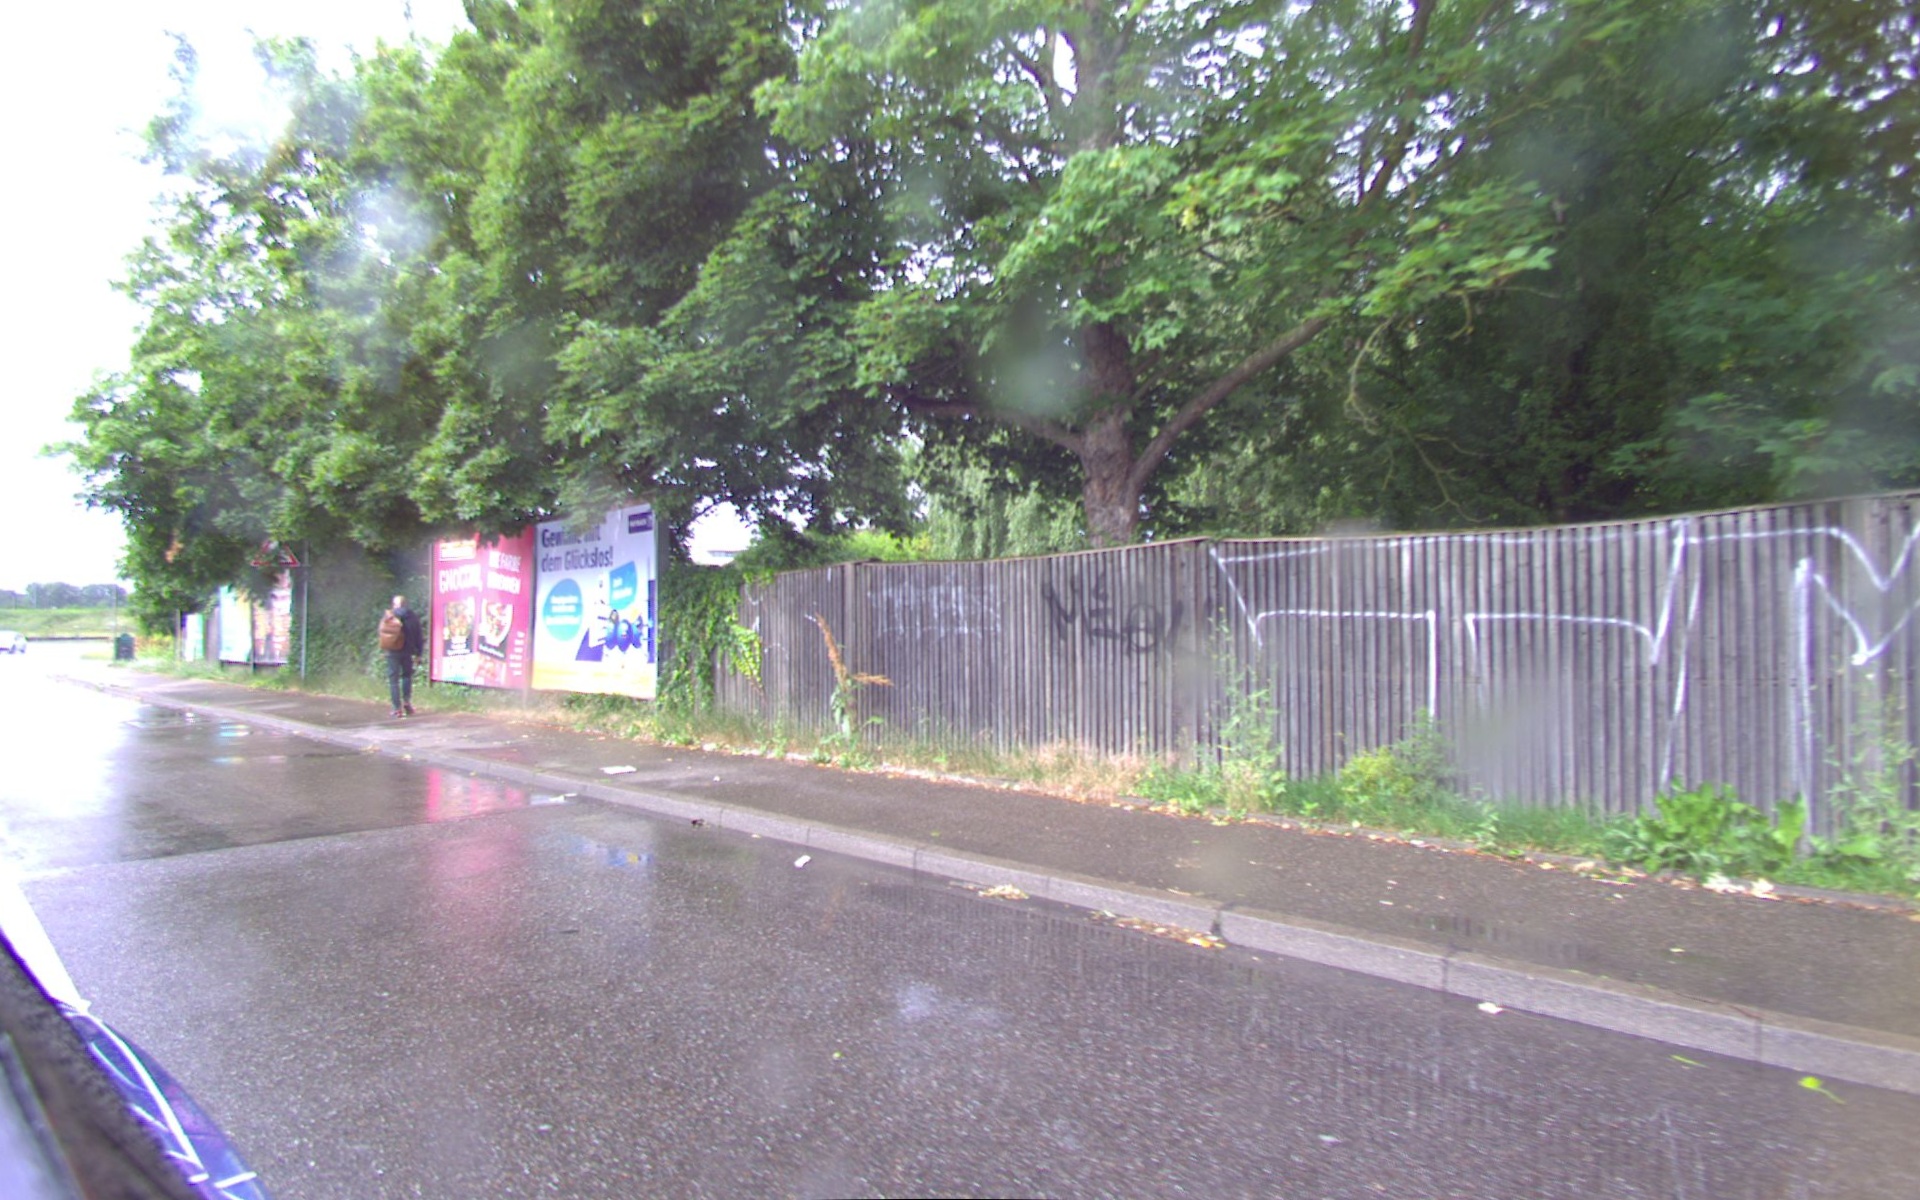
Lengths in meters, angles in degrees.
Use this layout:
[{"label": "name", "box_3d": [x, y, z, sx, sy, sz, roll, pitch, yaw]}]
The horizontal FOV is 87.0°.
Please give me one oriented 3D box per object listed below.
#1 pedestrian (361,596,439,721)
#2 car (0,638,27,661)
[{"label": "pedestrian", "box_3d": [-8.317, 0.851, 15.038, 0.644, 1.783, 0.830, -2, -3, 41]}, {"label": "car", "box_3d": [-71.343, 3.668, 75.266, 1.767, 1.645, 3.830, 0, -1, -25]}]
